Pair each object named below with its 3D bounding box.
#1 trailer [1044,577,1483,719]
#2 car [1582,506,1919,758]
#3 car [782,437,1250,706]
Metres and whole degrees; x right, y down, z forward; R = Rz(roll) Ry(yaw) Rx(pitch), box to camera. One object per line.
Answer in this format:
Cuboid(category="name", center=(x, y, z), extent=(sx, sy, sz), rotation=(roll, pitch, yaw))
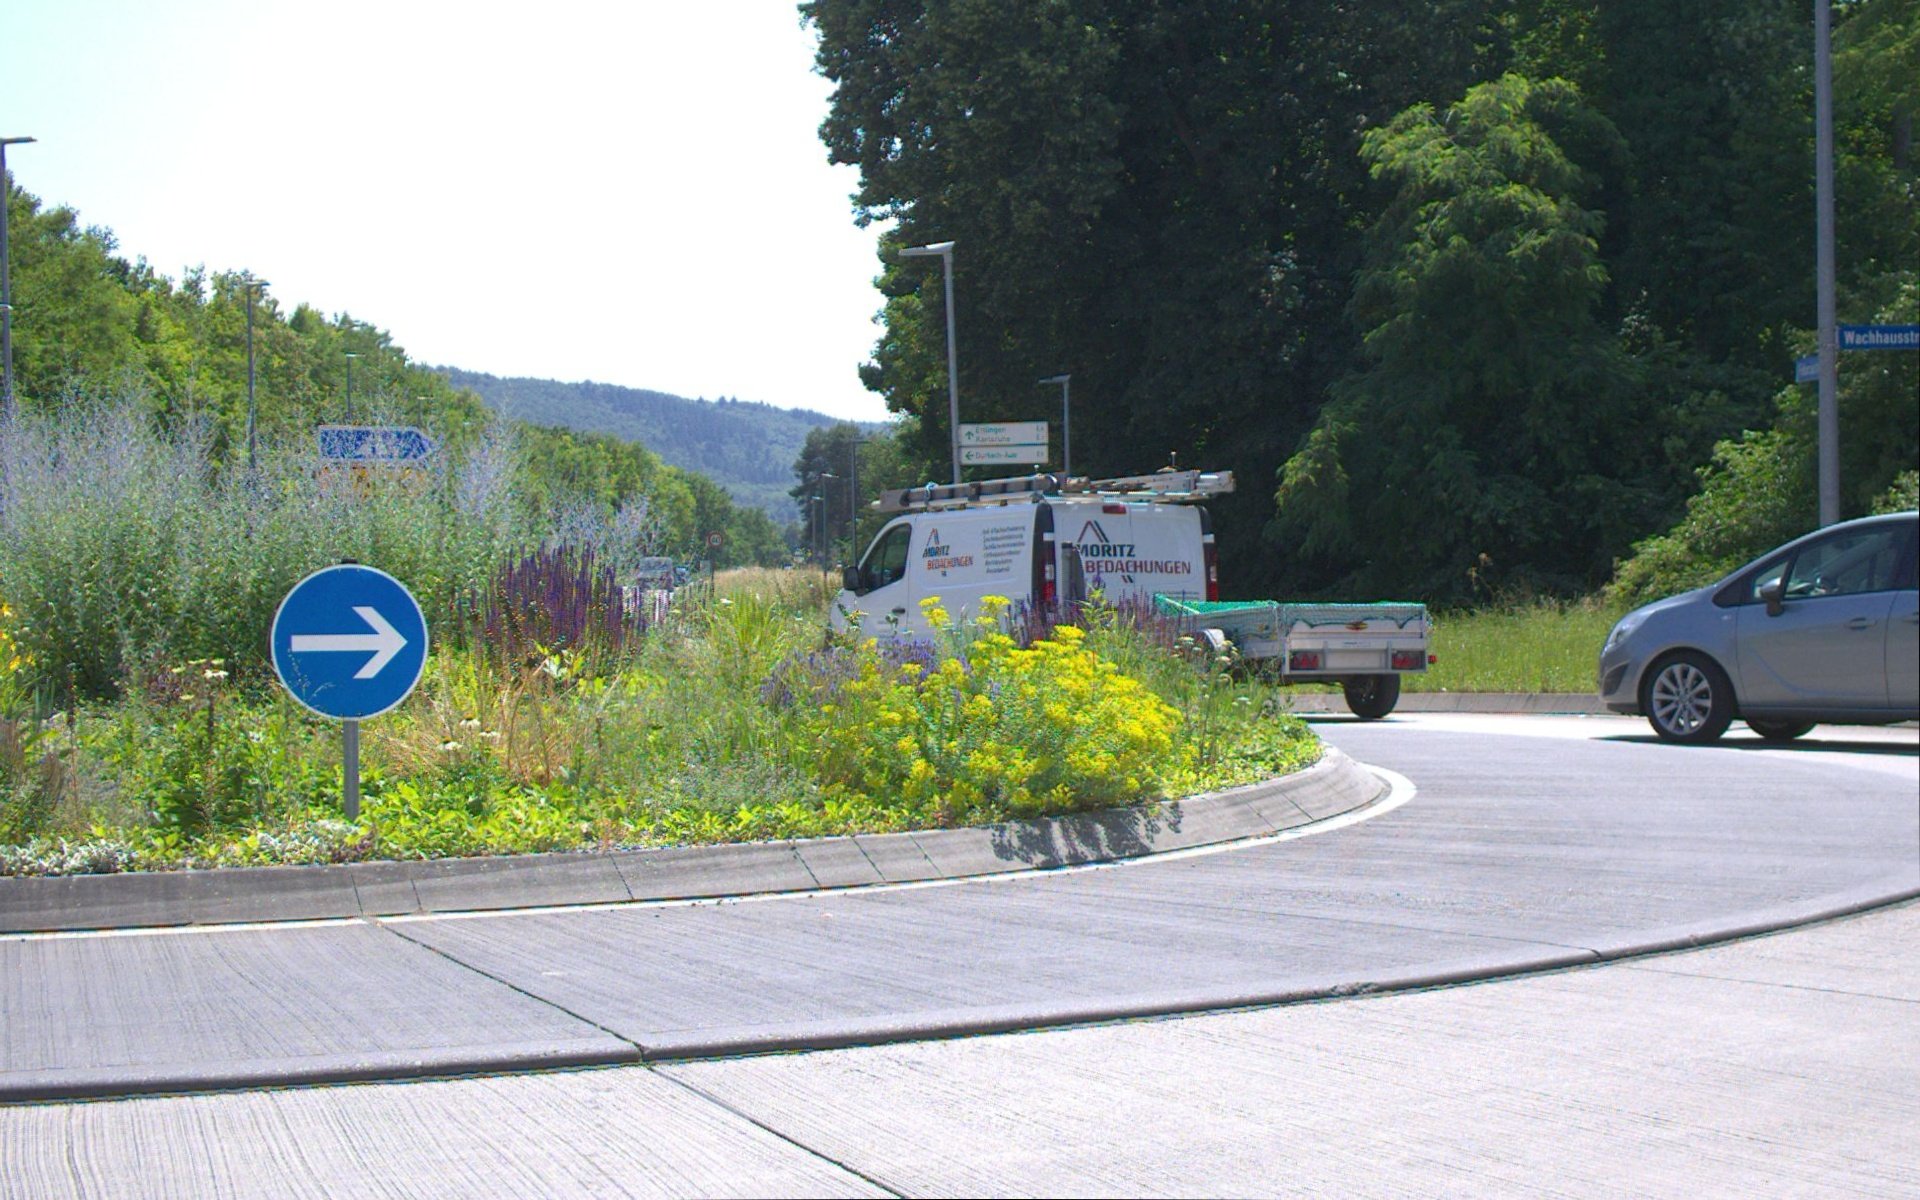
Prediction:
Cuboid(category="trailer", center=(2.455, 0.357, 28.491), extent=(2.121, 1.093, 3.355), rotation=(0, 0, -29))
Cuboid(category="car", center=(6.394, 0.197, 22.740), extent=(4.122, 1.601, 1.787), rotation=(0, 0, 35))
Cuboid(category="car", center=(0.411, -0.257, 32.189), extent=(2.166, 2.308, 4.981), rotation=(0, 0, -29))
